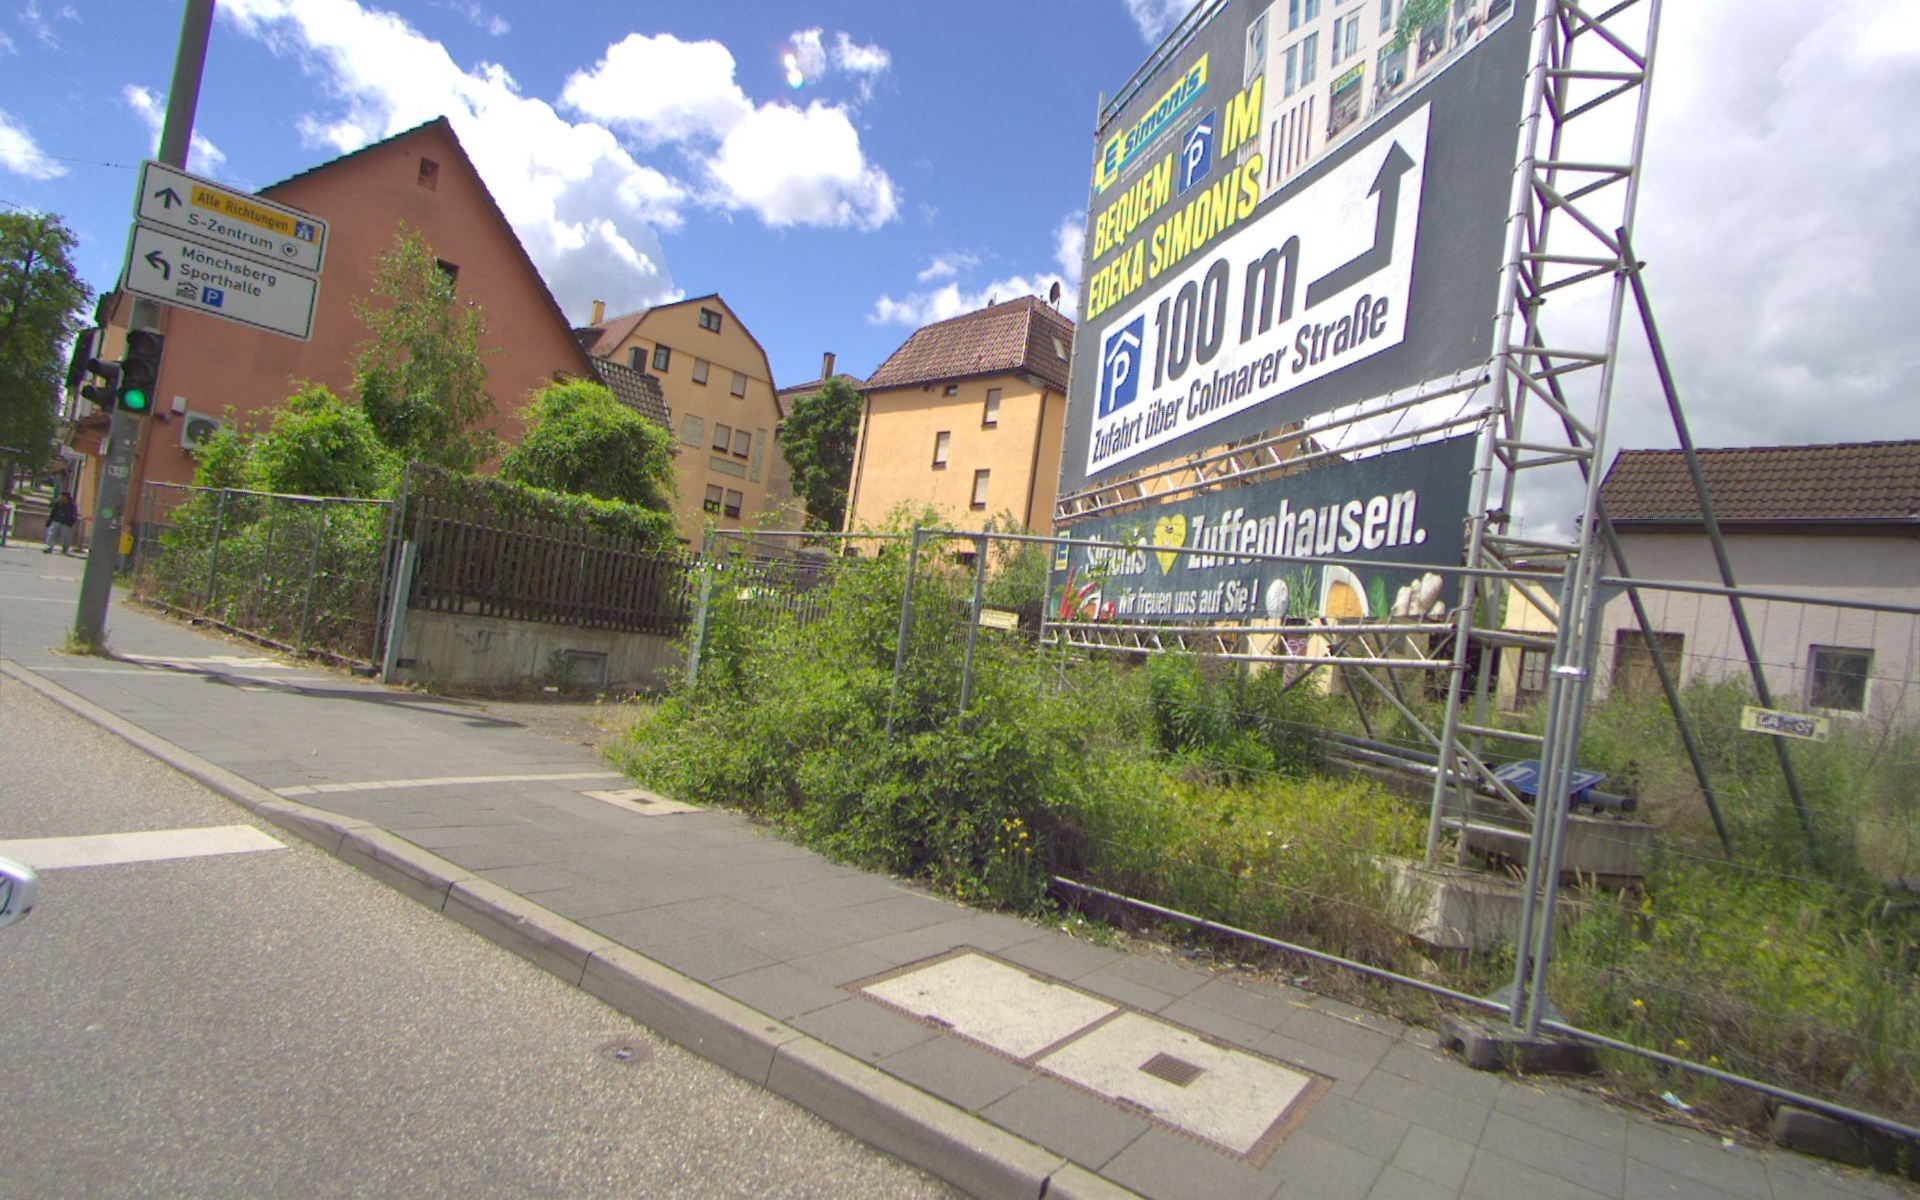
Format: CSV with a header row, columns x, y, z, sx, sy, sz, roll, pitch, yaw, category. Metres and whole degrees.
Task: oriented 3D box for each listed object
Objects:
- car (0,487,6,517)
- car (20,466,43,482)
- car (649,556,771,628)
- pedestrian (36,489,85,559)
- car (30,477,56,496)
x,y,z,sx,sy,sz,roll,pitch,yaw,category
-52.802,-5.412,54.192,1.781,1.614,3.953,8,-2,-42,car
-154.556,-20.948,167.499,1.981,2.037,3.965,8,-2,-34,car
-8.150,-0.289,32.577,1.989,1.803,3.951,9,-2,-43,car
-23.335,-1.975,26.101,0.762,1.662,0.768,8,1,-44,pedestrian
-111.960,-13.796,122.858,2.117,1.879,3.694,9,-2,-41,car
